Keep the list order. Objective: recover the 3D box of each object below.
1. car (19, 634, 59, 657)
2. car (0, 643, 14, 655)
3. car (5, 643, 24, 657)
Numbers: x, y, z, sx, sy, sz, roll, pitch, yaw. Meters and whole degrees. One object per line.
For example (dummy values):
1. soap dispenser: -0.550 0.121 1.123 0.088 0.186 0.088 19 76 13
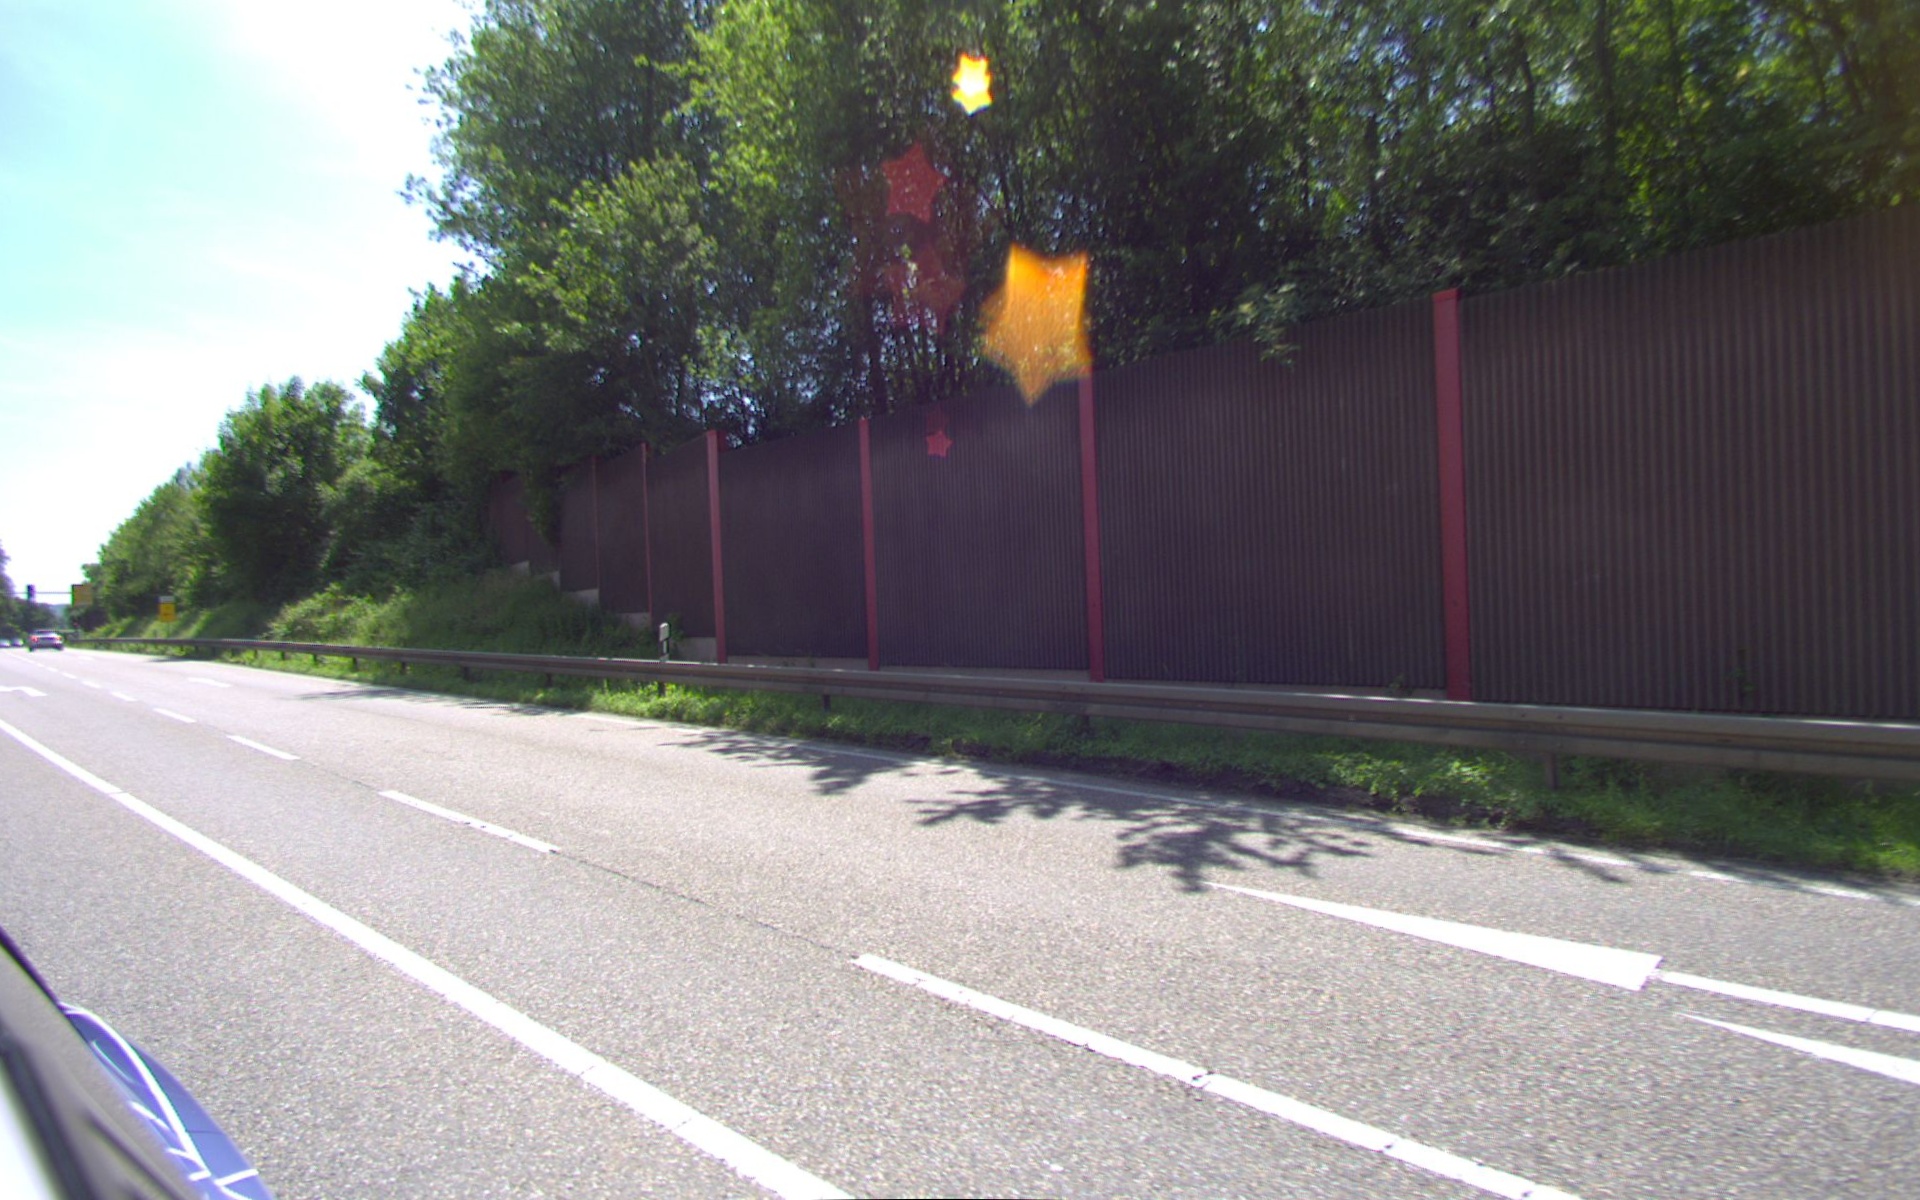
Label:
1. car: -61.516 3.025 67.581 3.873 1.446 1.786 -2 -1 44
2. car: -145.777 7.482 154.340 1.969 1.815 4.006 -4 1 -40
3. car: -154.719 8.197 165.570 1.969 2.028 4.006 -4 1 -40
